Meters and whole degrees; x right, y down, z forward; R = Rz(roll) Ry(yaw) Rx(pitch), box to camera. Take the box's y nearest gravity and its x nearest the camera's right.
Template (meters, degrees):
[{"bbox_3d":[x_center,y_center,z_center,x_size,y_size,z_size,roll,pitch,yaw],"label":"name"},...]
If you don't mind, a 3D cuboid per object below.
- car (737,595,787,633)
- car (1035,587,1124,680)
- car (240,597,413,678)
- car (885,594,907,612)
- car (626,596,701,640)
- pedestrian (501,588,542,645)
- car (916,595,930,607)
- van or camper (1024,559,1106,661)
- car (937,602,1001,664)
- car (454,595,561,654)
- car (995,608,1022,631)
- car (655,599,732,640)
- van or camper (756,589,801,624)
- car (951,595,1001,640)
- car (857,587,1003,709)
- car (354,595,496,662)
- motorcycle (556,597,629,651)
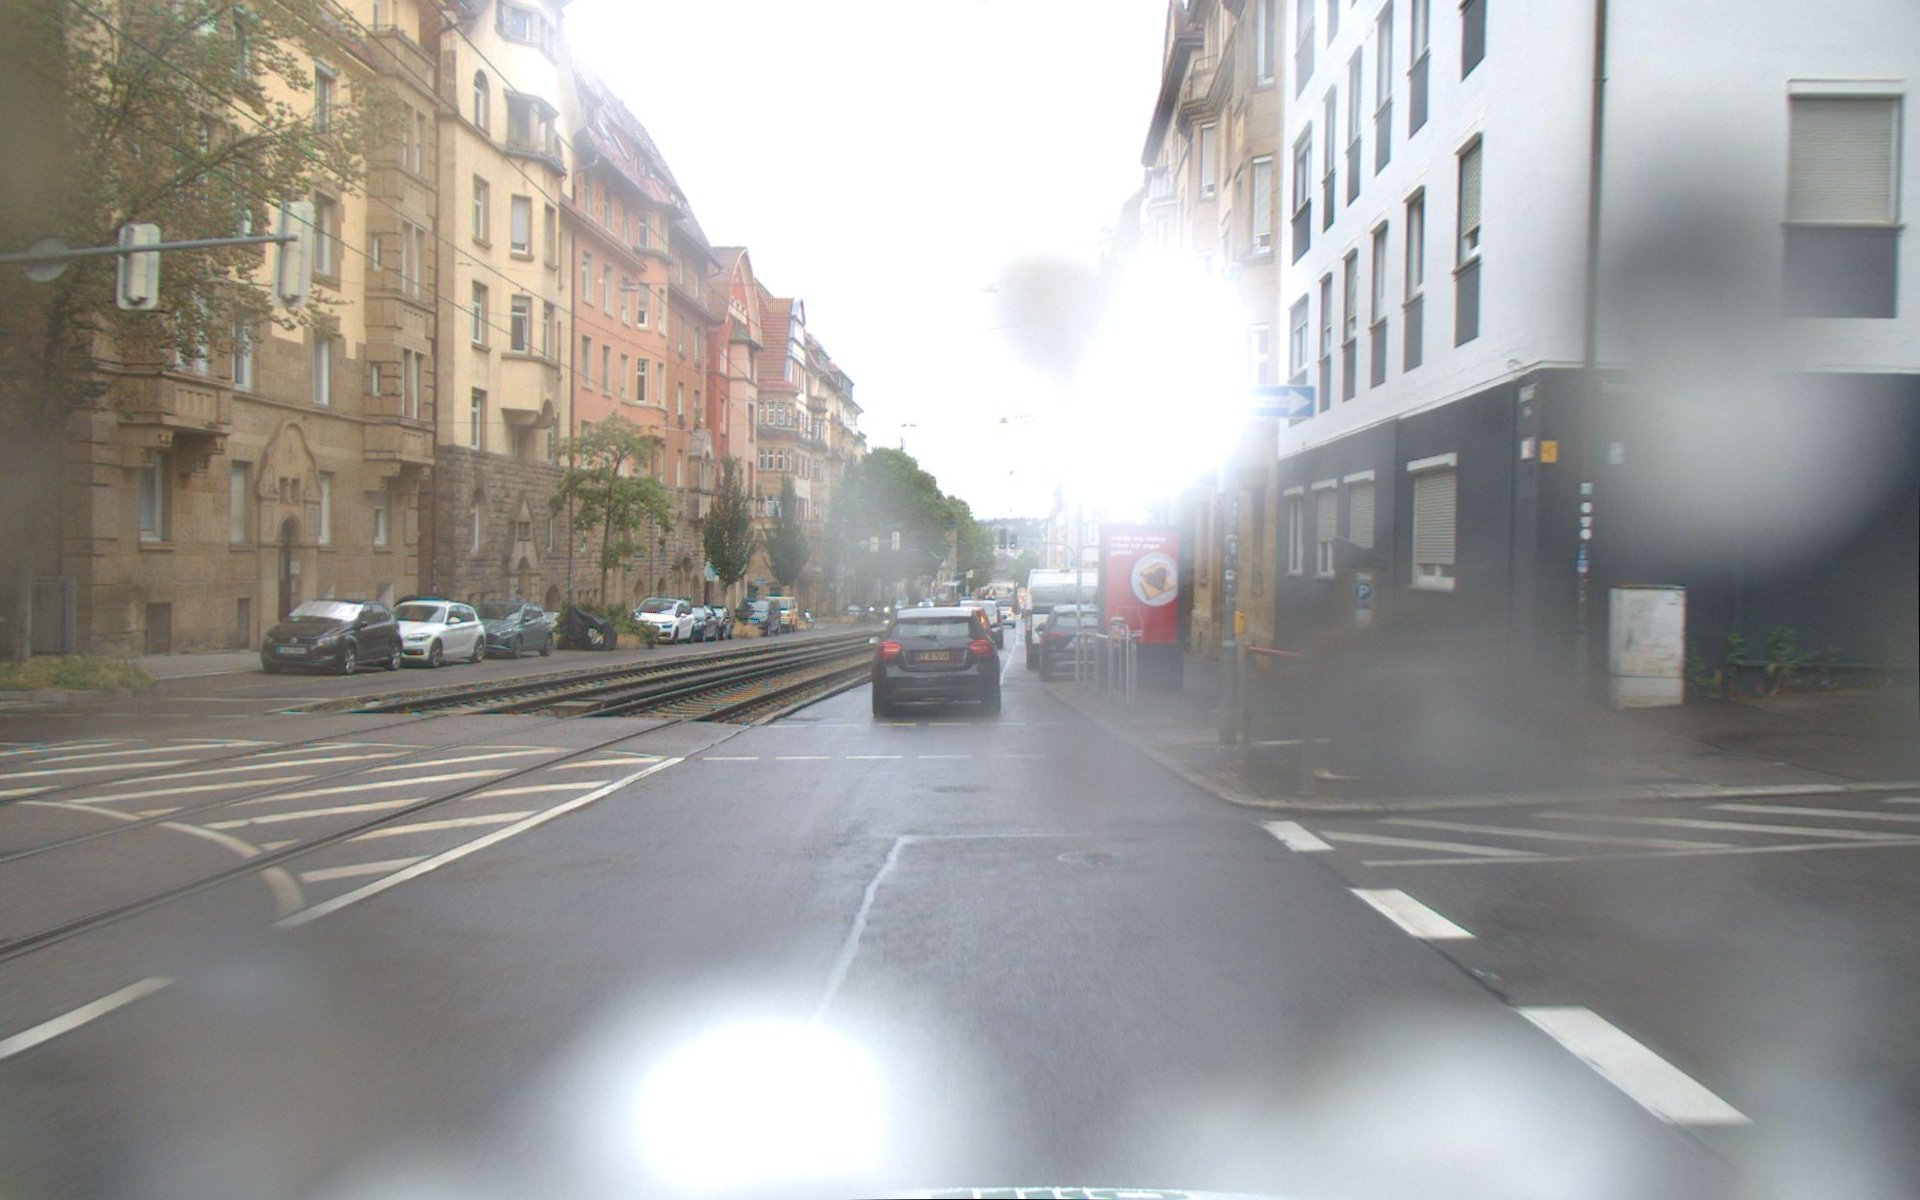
[{"bbox_3d":[-10.241,0.721,85.838,1.952,1.935,4.699,0,0,1],"label":"car"},{"bbox_3d":[2.505,0.677,35.419,1.732,1.839,4.483,1,0,2],"label":"car"},{"bbox_3d":[-12.582,0.738,33.120,1.728,1.512,4.001,0,-1,3],"label":"car"},{"bbox_3d":[-6.807,0.339,175.515,1.952,1.825,4.001,1,0,3],"label":"car"},{"bbox_3d":[-11.222,0.668,62.817,1.747,1.617,4.353,-1,0,5],"label":"car"},{"bbox_3d":[-14.133,0.522,53.340,0.986,1.784,0.925,2,-1,3],"label":"pedestrian"},{"bbox_3d":[-5.035,0.163,224.601,1.759,1.575,3.999,1,0,-1],"label":"car"},{"bbox_3d":[2.742,0.270,43.914,2.021,2.512,6.120,0,-1,3],"label":"van or camper"},{"bbox_3d":[0.282,0.837,43.645,1.504,1.536,4.001,1,0,3],"label":"car"},{"bbox_3d":[-12.061,0.624,44.315,1.528,1.463,4.147,0,1,3],"label":"car"},{"bbox_3d":[3.460,1.404,117.687,1.863,1.621,4.001,0,-1,2],"label":"car"},{"bbox_3d":[-11.047,0.779,68.903,1.952,1.536,4.977,2,0,4],"label":"car"},{"bbox_3d":[-10.199,0.347,93.246,1.952,1.934,4.699,0,0,0],"label":"van or camper"},{"bbox_3d":[0.625,0.667,66.307,1.882,1.684,3.999,0,1,-1],"label":"car"},{"bbox_3d":[-0.349,0.646,23.372,1.906,1.592,3.643,0,-1,1],"label":"car"},{"bbox_3d":[-12.246,0.638,38.165,1.632,1.451,4.264,1,0,4],"label":"car"},{"bbox_3d":[-11.643,0.751,52.363,2.221,1.671,1.288,1,0,-15],"label":"motorcycle"}]
